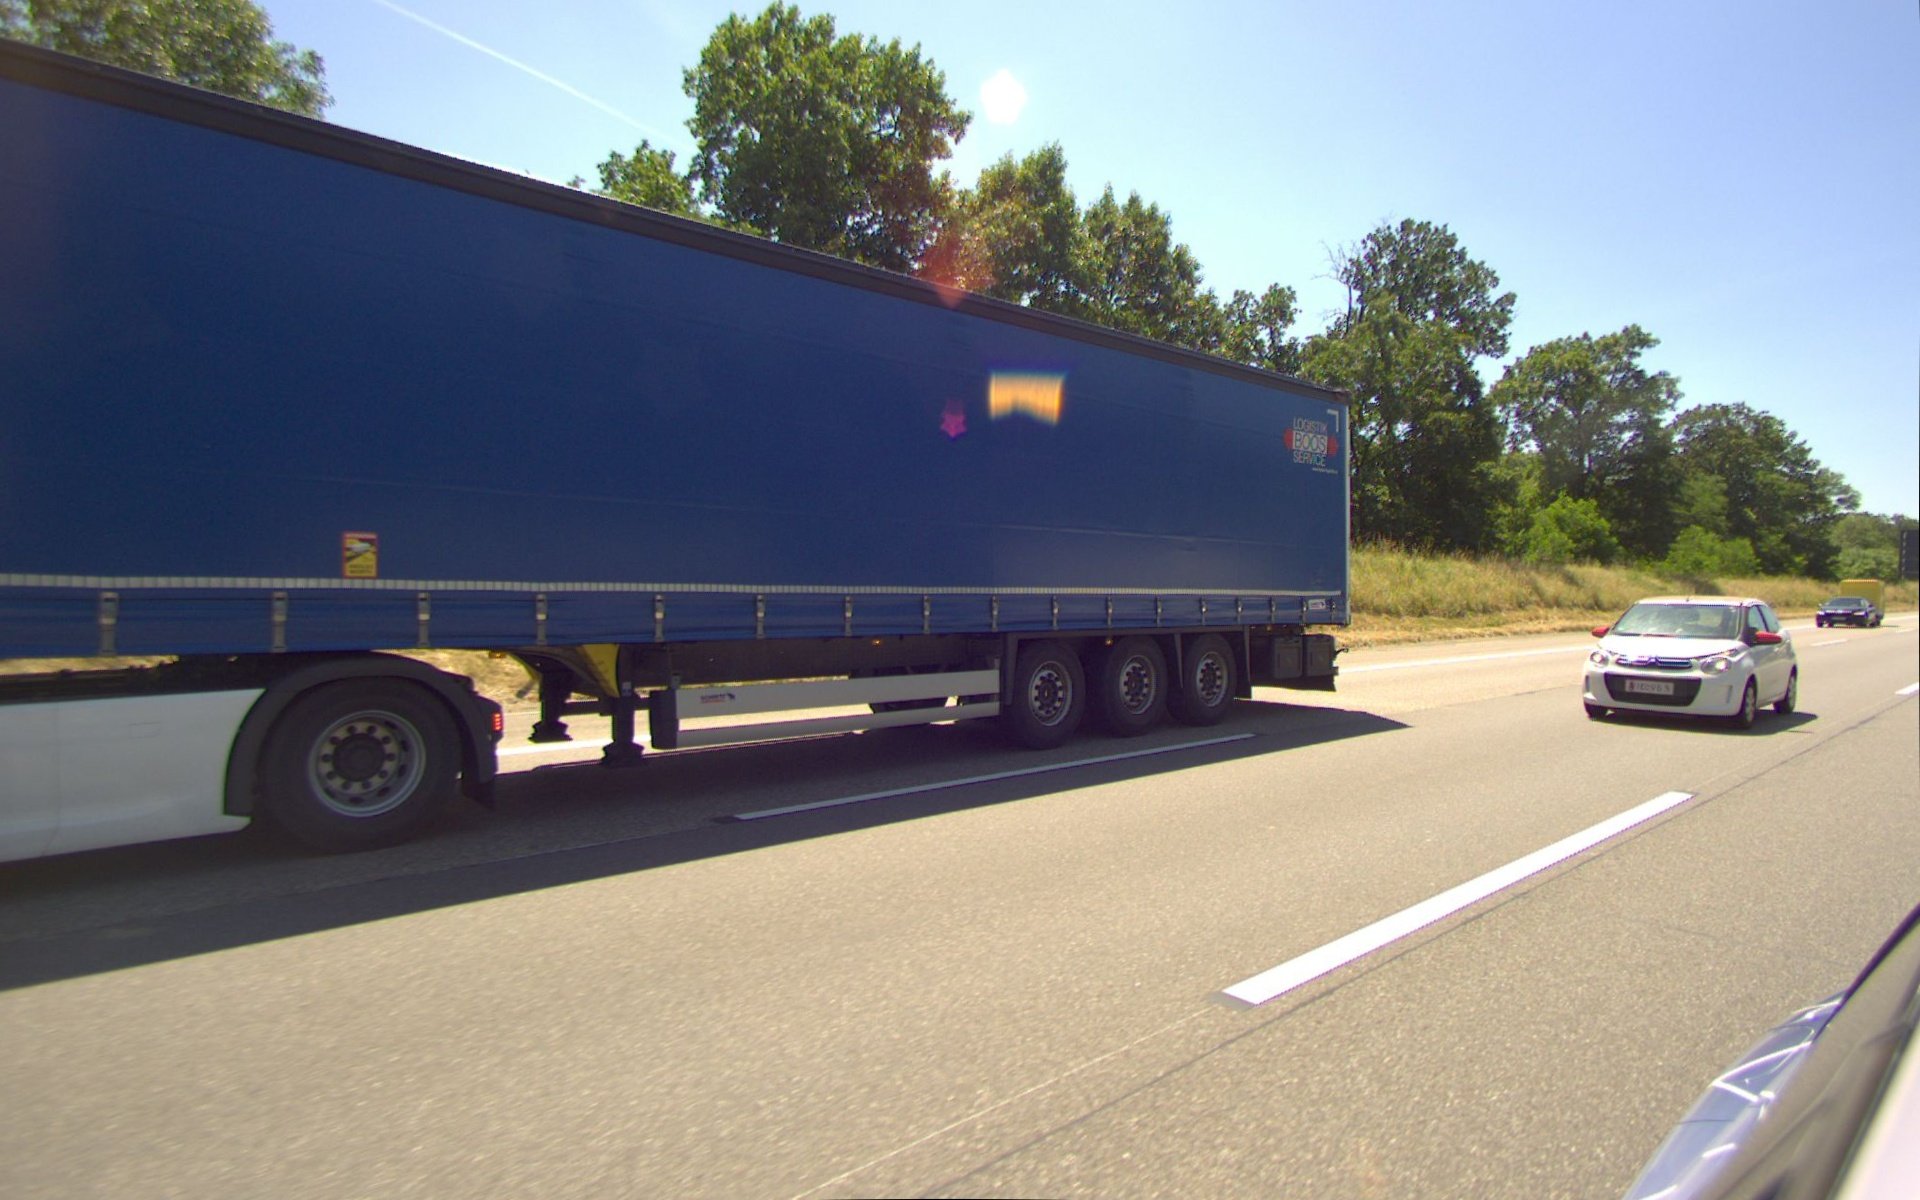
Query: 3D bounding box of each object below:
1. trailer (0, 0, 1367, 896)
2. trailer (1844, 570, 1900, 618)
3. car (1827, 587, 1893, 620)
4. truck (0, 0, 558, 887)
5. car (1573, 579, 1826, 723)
[{"bbox_3d":[-0.878,-0.861,9.824,13.329,4.272,3.291,-1,0,-41],"label":"trailer"},{"bbox_3d":[45.875,-0.323,50.896,3.773,2.318,1.705,0,0,-42],"label":"trailer"},{"bbox_3d":[42.730,0.132,48.033,4.706,1.474,1.824,0,0,-42],"label":"car"},{"bbox_3d":[-5.764,-0.836,5.525,5.903,4.272,3.291,-1,0,-41],"label":"truck"},{"bbox_3d":[9.294,0.520,12.611,3.953,1.514,1.711,0,0,-41],"label":"car"}]
